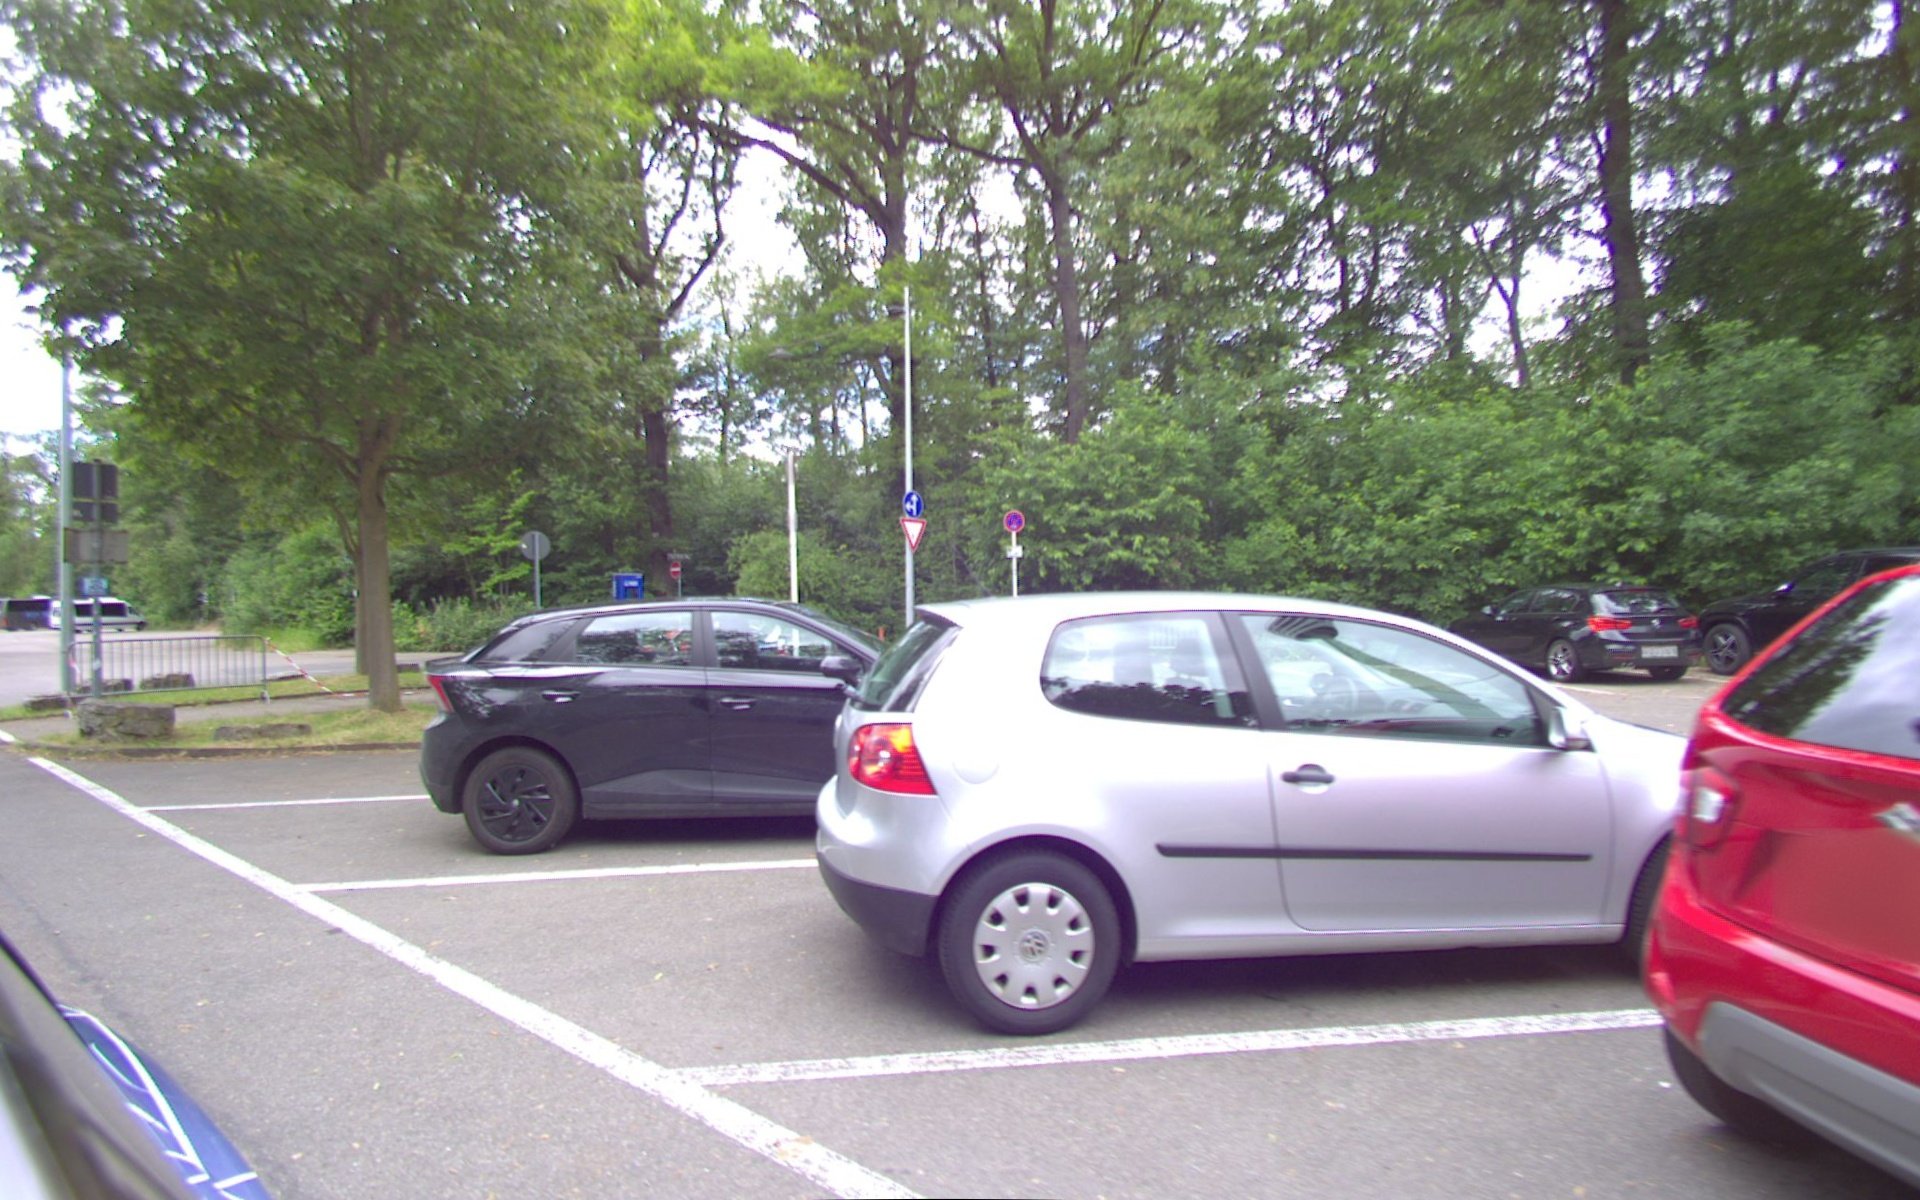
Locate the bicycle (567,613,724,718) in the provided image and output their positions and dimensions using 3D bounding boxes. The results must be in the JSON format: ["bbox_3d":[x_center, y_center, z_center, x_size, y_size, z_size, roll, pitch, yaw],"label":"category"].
[{"bbox_3d":[-3.712,0.739,12.055,0.482,1.120,1.763,-1,0,43],"label":"bicycle"}]

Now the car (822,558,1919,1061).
[{"bbox_3d":[1.415,0.634,4.306,3.937,1.495,1.880,-1,0,-7],"label":"car"}]

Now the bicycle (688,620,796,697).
[{"bbox_3d":[-3.480,0.910,16.275,1.671,1.120,0.483,-1,0,-42],"label":"bicycle"}]

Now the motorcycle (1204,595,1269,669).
[{"bbox_3d":[4.828,0.520,17.784,0.721,1.217,2.026,-1,0,5],"label":"motorcycle"}]

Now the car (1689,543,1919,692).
[{"bbox_3d":[12.369,0.189,13.144,2.080,1.780,4.714,-1,0,-5],"label":"car"}]

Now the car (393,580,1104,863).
[{"bbox_3d":[-1.240,0.686,6.746,4.040,1.534,1.832,-1,0,-2],"label":"car"}]

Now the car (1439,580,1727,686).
[{"bbox_3d":[9.360,0.437,15.648,1.713,1.386,4.004,-1,0,-5],"label":"car"}]

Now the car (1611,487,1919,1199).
[{"bbox_3d":[3.595,0.550,2.003,3.596,1.597,1.690,-1,0,-8],"label":"car"}]

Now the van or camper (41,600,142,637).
[{"bbox_3d":[-71.585,1.479,83.644,2.039,2.871,7.340,-1,0,0],"label":"van or camper"}]

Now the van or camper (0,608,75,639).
[{"bbox_3d":[-90.256,2.236,98.172,2.175,2.871,7.333,-1,0,3],"label":"van or camper"}]

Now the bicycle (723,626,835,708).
[{"bbox_3d":[-2.736,0.995,15.427,1.660,1.120,0.506,-1,0,-44],"label":"bicycle"}]
